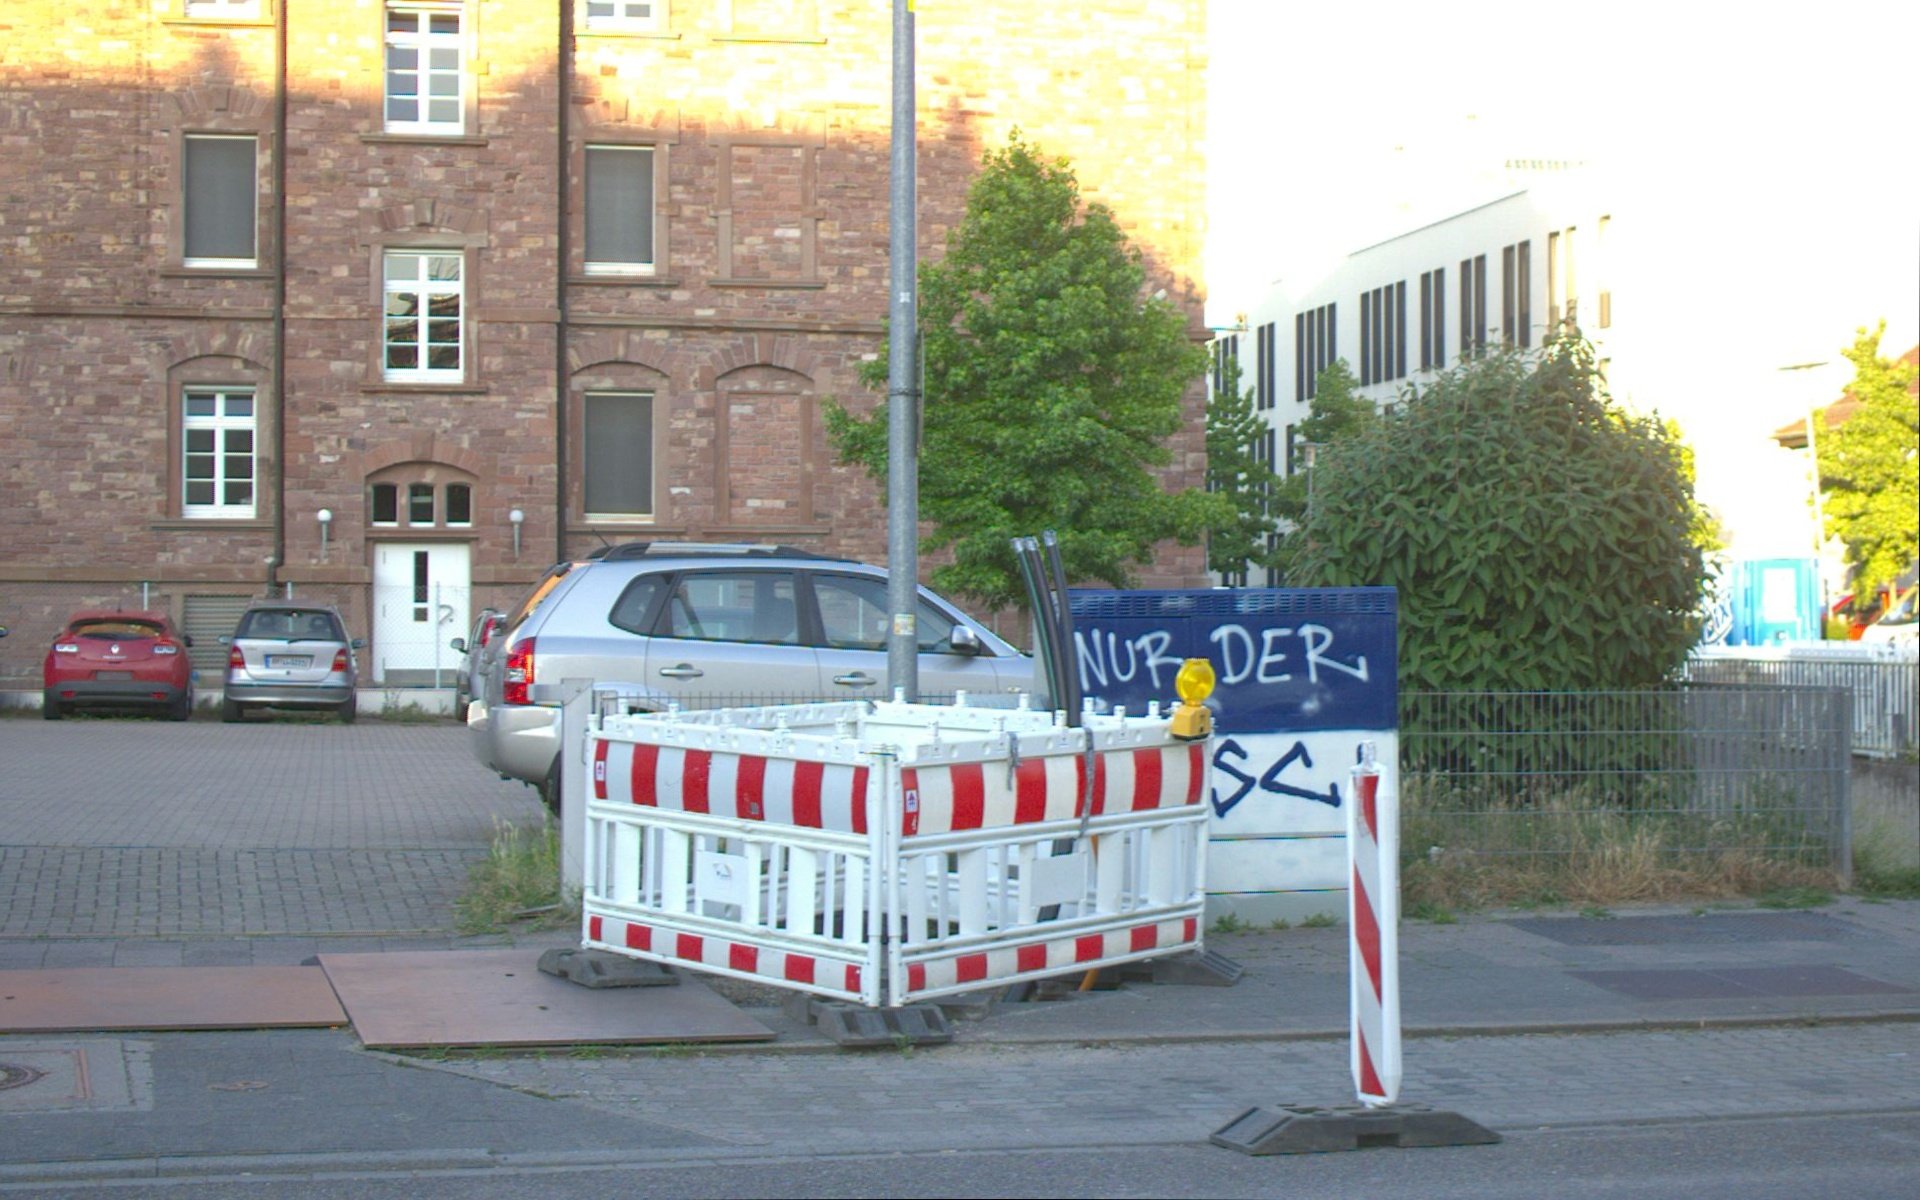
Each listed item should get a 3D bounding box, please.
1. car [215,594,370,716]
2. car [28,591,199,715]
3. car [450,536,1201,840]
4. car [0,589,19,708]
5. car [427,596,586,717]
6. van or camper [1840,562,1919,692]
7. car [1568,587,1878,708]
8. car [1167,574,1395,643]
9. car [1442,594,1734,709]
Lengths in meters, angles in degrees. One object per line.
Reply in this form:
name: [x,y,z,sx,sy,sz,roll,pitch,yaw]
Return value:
car: [-8.764,0.695,45.293,1.896,1.532,4.180,0,0,-10]
car: [-10.982,0.661,44.835,1.896,1.532,4.180,0,0,-10]
car: [-0.849,0.497,20.559,4.268,1.703,1.703,0,0,-11]
car: [-13.443,0.618,44.849,1.896,1.532,4.180,0,0,-10]
car: [-6.086,0.717,45.805,1.896,1.532,4.180,0,0,-10]
van or camper: [18.259,0.492,60.866,4.961,2.233,1.687,0,-1,-14]
car: [10.319,0.630,46.559,3.739,1.597,1.687,0,0,-14]
car: [6.140,0.159,66.031,3.986,1.308,1.878,0,0,-11]
car: [8.977,0.738,49.233,3.739,1.598,1.687,0,-1,-14]
